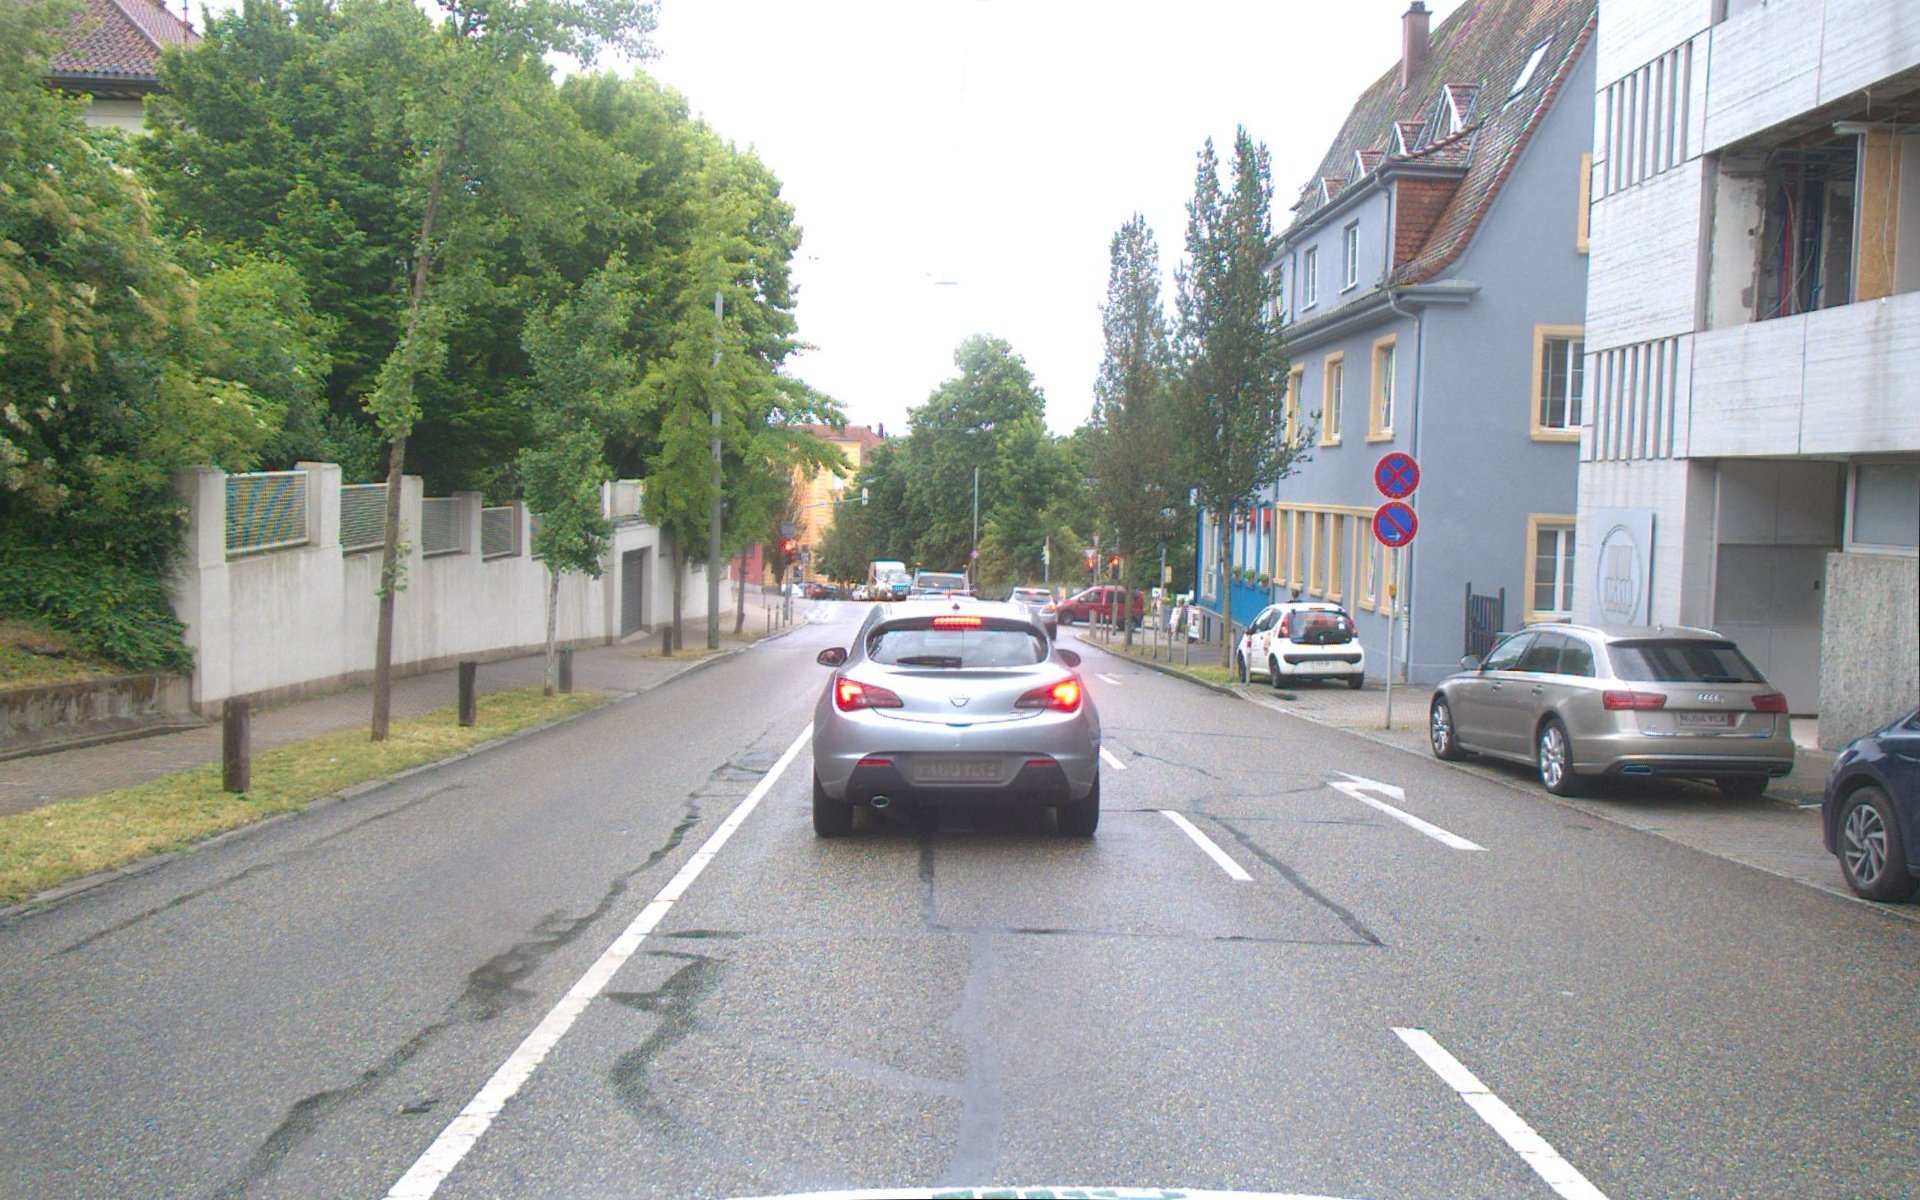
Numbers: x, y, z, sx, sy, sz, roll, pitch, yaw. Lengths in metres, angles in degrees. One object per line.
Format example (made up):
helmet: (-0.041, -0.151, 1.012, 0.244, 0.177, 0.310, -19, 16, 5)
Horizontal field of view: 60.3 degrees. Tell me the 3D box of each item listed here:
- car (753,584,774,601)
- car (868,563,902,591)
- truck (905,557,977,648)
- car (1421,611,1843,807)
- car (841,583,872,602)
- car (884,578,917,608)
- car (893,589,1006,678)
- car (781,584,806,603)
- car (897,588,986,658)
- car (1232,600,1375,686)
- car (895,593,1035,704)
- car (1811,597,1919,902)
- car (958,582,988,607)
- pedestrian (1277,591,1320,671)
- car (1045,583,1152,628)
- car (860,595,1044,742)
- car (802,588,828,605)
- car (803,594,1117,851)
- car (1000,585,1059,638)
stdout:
car: (-19.743, -0.765, 165.913, 1.692, 1.666, 3.868, 1, 0, -12)
car: (-4.638, -1.374, 101.731, 1.691, 1.666, 3.871, 0, 0, -9)
truck: (-0.605, 0.049, 48.637, 1.922, 2.471, 4.934, 2, 0, -2)
car: (6.001, 0.888, 15.458, 1.923, 1.473, 4.524, 1, 0, -3)
car: (-8.809, -0.639, 140.759, 1.696, 1.570, 3.859, 0, 0, -18)
car: (-3.397, -0.401, 94.112, 1.833, 1.666, 3.878, 0, 0, -2)
car: (-0.249, 0.574, 30.980, 1.922, 1.473, 4.303, 2, 0, -2)
car: (-12.847, -0.501, 127.868, 1.688, 1.485, 3.878, 0, 0, -2)
car: (-0.475, 0.492, 38.638, 1.922, 1.473, 4.303, 2, 0, -2)
car: (6.219, 0.739, 30.343, 1.688, 1.474, 3.878, 0, 0, -2)
car: (0.000, 0.679, 25.604, 1.922, 1.473, 4.303, 2, 0, -2)
car: (6.033, 0.813, 7.850, 1.694, 1.627, 4.159, 1, 0, -3)
car: (0.840, -0.375, 110.474, 1.689, 1.666, 3.876, 0, 0, -4)
pedestrian: (7.662, 0.694, 37.441, 0.767, 1.759, 0.650, 2, 0, -1)
car: (5.993, 0.238, 71.709, 4.358, 1.860, 1.750, -1, 0, -6)
car: (-0.159, 0.729, 19.879, 1.922, 1.473, 4.303, 2, 0, -2)
car: (-13.991, -0.343, 159.440, 1.696, 1.666, 3.859, 0, 0, -18)
car: (-0.083, 0.709, 11.522, 1.800, 1.459, 3.878, 1, 0, -3)
car: (2.352, 0.361, 56.714, 1.688, 1.744, 3.877, 0, 0, -3)
